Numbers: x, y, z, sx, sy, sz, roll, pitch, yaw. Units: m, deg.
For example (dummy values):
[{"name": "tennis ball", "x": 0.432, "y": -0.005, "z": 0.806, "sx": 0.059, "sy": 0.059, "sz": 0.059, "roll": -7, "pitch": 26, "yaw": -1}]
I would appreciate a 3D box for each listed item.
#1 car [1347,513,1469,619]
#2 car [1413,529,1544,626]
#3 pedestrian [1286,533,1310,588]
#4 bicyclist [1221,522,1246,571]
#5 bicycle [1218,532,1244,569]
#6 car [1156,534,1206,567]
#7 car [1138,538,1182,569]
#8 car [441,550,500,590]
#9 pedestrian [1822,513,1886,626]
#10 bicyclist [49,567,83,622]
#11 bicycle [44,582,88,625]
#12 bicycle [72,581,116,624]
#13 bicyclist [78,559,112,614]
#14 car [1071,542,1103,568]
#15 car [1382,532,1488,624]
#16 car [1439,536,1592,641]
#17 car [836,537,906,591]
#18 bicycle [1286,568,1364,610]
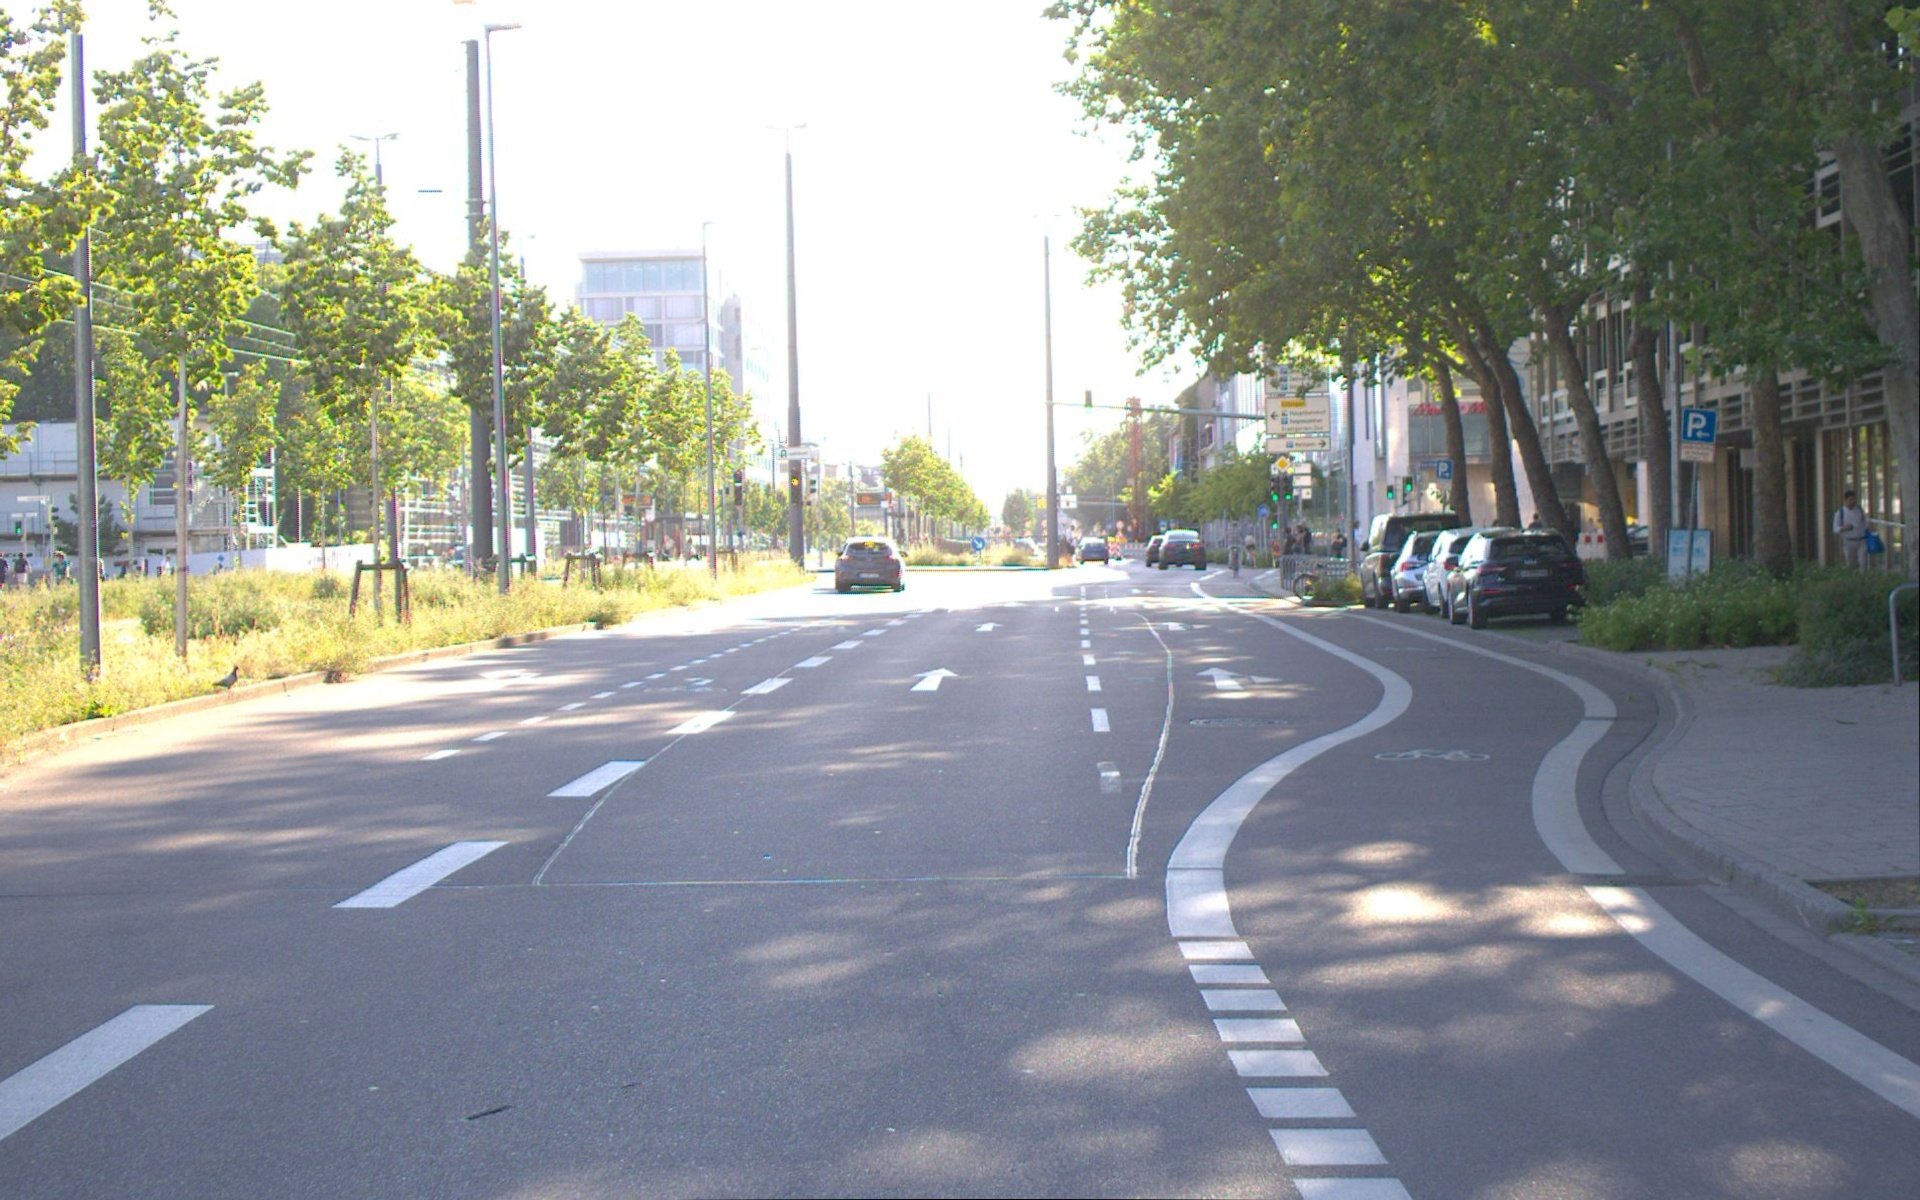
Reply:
[{"name": "car", "x": 9.075, "y": -0.726, "z": 69.971, "sx": 1.829, "sy": 1.964, "sz": 5.321, "roll": -3, "pitch": 1, "yaw": 2}, {"name": "car", "x": 8.705, "y": -0.403, "z": 58.000, "sx": 1.681, "sy": 1.473, "sz": 3.874, "roll": -3, "pitch": 1, "yaw": 2}, {"name": "pedestrian", "x": 10.590, "y": -1.241, "z": 107.779, "sx": 0.634, "sy": 1.697, "sz": 0.570, "roll": -3, "pitch": 1, "yaw": 3}, {"name": "bicyclist", "x": 9.132, "y": -1.789, "z": 114.832, "sx": 0.800, "sy": 1.596, "sz": 0.785, "roll": -1, "pitch": 1, "yaw": 3}, {"name": "bicycle", "x": 9.053, "y": -1.648, "z": 114.806, "sx": 0.800, "sy": 1.200, "sz": 2.263, "roll": -1, "pitch": 1, "yaw": 6}, {"name": "car", "x": 9.870, "y": -2.214, "z": 153.586, "sx": 1.940, "sy": 1.423, "sz": 3.926, "roll": -1, "pitch": 1, "yaw": 0}, {"name": "car", "x": 10.111, "y": -2.354, "z": 174.087, "sx": 1.940, "sy": 1.479, "sz": 3.926, "roll": -1, "pitch": 1, "yaw": 0}, {"name": "car", "x": -22.333, "y": -1.381, "z": 156.971, "sx": 1.993, "sy": 1.770, "sz": 4.000, "roll": -1, "pitch": 1, "yaw": 2}, {"name": "pedestrian", "x": 14.856, "y": -0.512, "z": 57.140, "sx": 0.831, "sy": 1.850, "sz": 0.847, "roll": -1, "pitch": 1, "yaw": 1}, {"name": "bicyclist", "x": -23.856, "y": -0.163, "z": 91.741, "sx": 0.583, "sy": 1.437, "sz": 1.075, "roll": -1, "pitch": 1, "yaw": 2}, {"name": "bicycle", "x": -23.857, "y": 0.082, "z": 91.768, "sx": 0.583, "sy": 1.101, "sz": 1.987, "roll": -1, "pitch": 1, "yaw": 2}, {"name": "bicycle", "x": -23.116, "y": 0.056, "z": 91.789, "sx": 0.583, "sy": 1.101, "sz": 1.987, "roll": -1, "pitch": 1, "yaw": 2}, {"name": "bicyclist", "x": -23.103, "y": -0.363, "z": 91.861, "sx": 0.583, "sy": 1.437, "sz": 1.075, "roll": -1, "pitch": 1, "yaw": 2}, {"name": "car", "x": 7.765, "y": -2.754, "z": 210.411, "sx": 1.759, "sy": 1.479, "sz": 3.850, "roll": -1, "pitch": 1, "yaw": 0}, {"name": "car", "x": 8.788, "y": -0.438, "z": 63.882, "sx": 1.682, "sy": 1.509, "sz": 5.058, "roll": -3, "pitch": 1, "yaw": 6}, {"name": "car", "x": 8.353, "y": -0.211, "z": 52.003, "sx": 1.706, "sy": 1.413, "sz": 4.276, "roll": -3, "pitch": 1, "yaw": 2}, {"name": "car", "x": -2.379, "y": -0.983, "z": 92.502, "sx": 1.777, "sy": 1.423, "sz": 4.000, "roll": 0, "pitch": 1, "yaw": 0}, {"name": "bicycle", "x": 8.305, "y": -0.259, "z": 78.264, "sx": 1.692, "sy": 0.864, "sz": 0.572, "roll": -3, "pitch": 1, "yaw": 10}]
